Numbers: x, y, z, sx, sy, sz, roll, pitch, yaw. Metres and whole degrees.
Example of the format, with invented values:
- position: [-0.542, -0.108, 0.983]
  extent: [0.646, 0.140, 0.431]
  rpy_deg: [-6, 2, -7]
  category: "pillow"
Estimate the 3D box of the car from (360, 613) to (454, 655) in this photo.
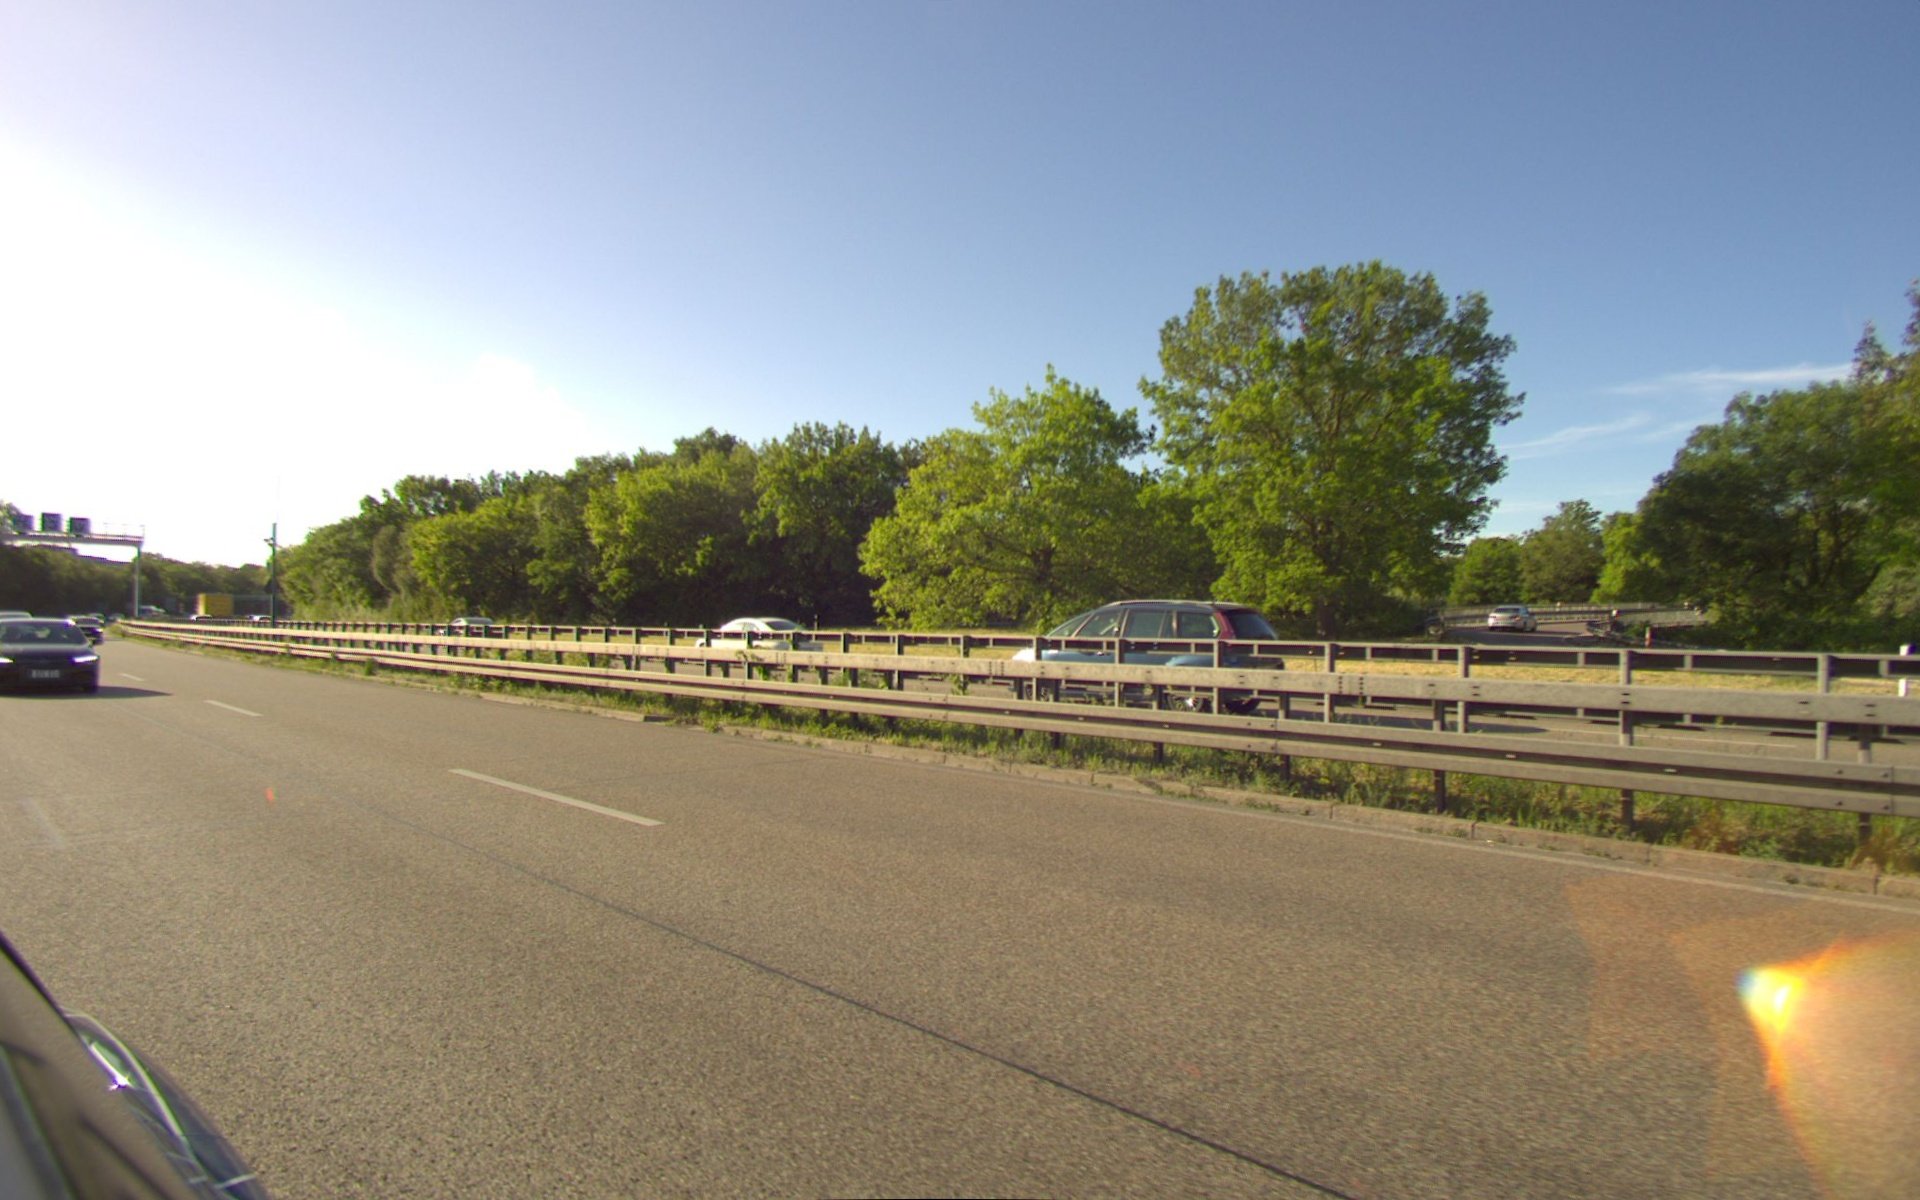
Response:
- position: [-22.808, 1.364, 41.692]
  extent: [4.720, 1.653, 1.972]
  rpy_deg: [-1, -1, 42]
  category: "car"

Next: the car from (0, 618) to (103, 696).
- position: [-19.042, 1.097, 20.555]
  extent: [4.832, 1.425, 1.971]
  rpy_deg: [-1, -3, 44]
  category: "car"

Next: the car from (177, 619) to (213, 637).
- position: [-63.552, 2.270, 84.065]
  extent: [1.969, 1.425, 4.836]
  rpy_deg: [0, -1, -42]
  category: "car"

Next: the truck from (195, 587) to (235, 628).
- position: [-84.547, 0.884, 114.787]
  extent: [3.126, 4.453, 8.032]
  rpy_deg: [-1, 0, -40]
  category: "truck"

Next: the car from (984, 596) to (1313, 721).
- position: [2.802, 0.811, 15.777]
  extent: [4.720, 1.653, 1.972]
  rpy_deg: [-1, -1, 42]
  category: "car"

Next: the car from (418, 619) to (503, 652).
- position: [-23.062, 1.579, 46.649]
  extent: [4.832, 1.425, 1.971]
  rpy_deg: [-1, -1, 44]
  category: "car"

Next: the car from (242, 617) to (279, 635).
- position: [-59.189, 2.187, 85.580]
  extent: [1.969, 1.425, 4.836]
  rpy_deg: [0, -1, -42]
  category: "car"

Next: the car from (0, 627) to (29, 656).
- position: [-50.654, 2.169, 53.443]
  extent: [4.833, 1.425, 1.971]
  rpy_deg: [-1, -1, 45]
  category: "car"

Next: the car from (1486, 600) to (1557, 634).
- position: [31.346, 0.942, 56.451]
  extent: [4.647, 1.817, 2.003]
  rpy_deg: [0, -1, -41]
  category: "car"

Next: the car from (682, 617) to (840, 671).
- position: [-5.789, 1.208, 29.097]
  extent: [4.829, 1.425, 1.972]
  rpy_deg: [-1, -1, 42]
  category: "car"
